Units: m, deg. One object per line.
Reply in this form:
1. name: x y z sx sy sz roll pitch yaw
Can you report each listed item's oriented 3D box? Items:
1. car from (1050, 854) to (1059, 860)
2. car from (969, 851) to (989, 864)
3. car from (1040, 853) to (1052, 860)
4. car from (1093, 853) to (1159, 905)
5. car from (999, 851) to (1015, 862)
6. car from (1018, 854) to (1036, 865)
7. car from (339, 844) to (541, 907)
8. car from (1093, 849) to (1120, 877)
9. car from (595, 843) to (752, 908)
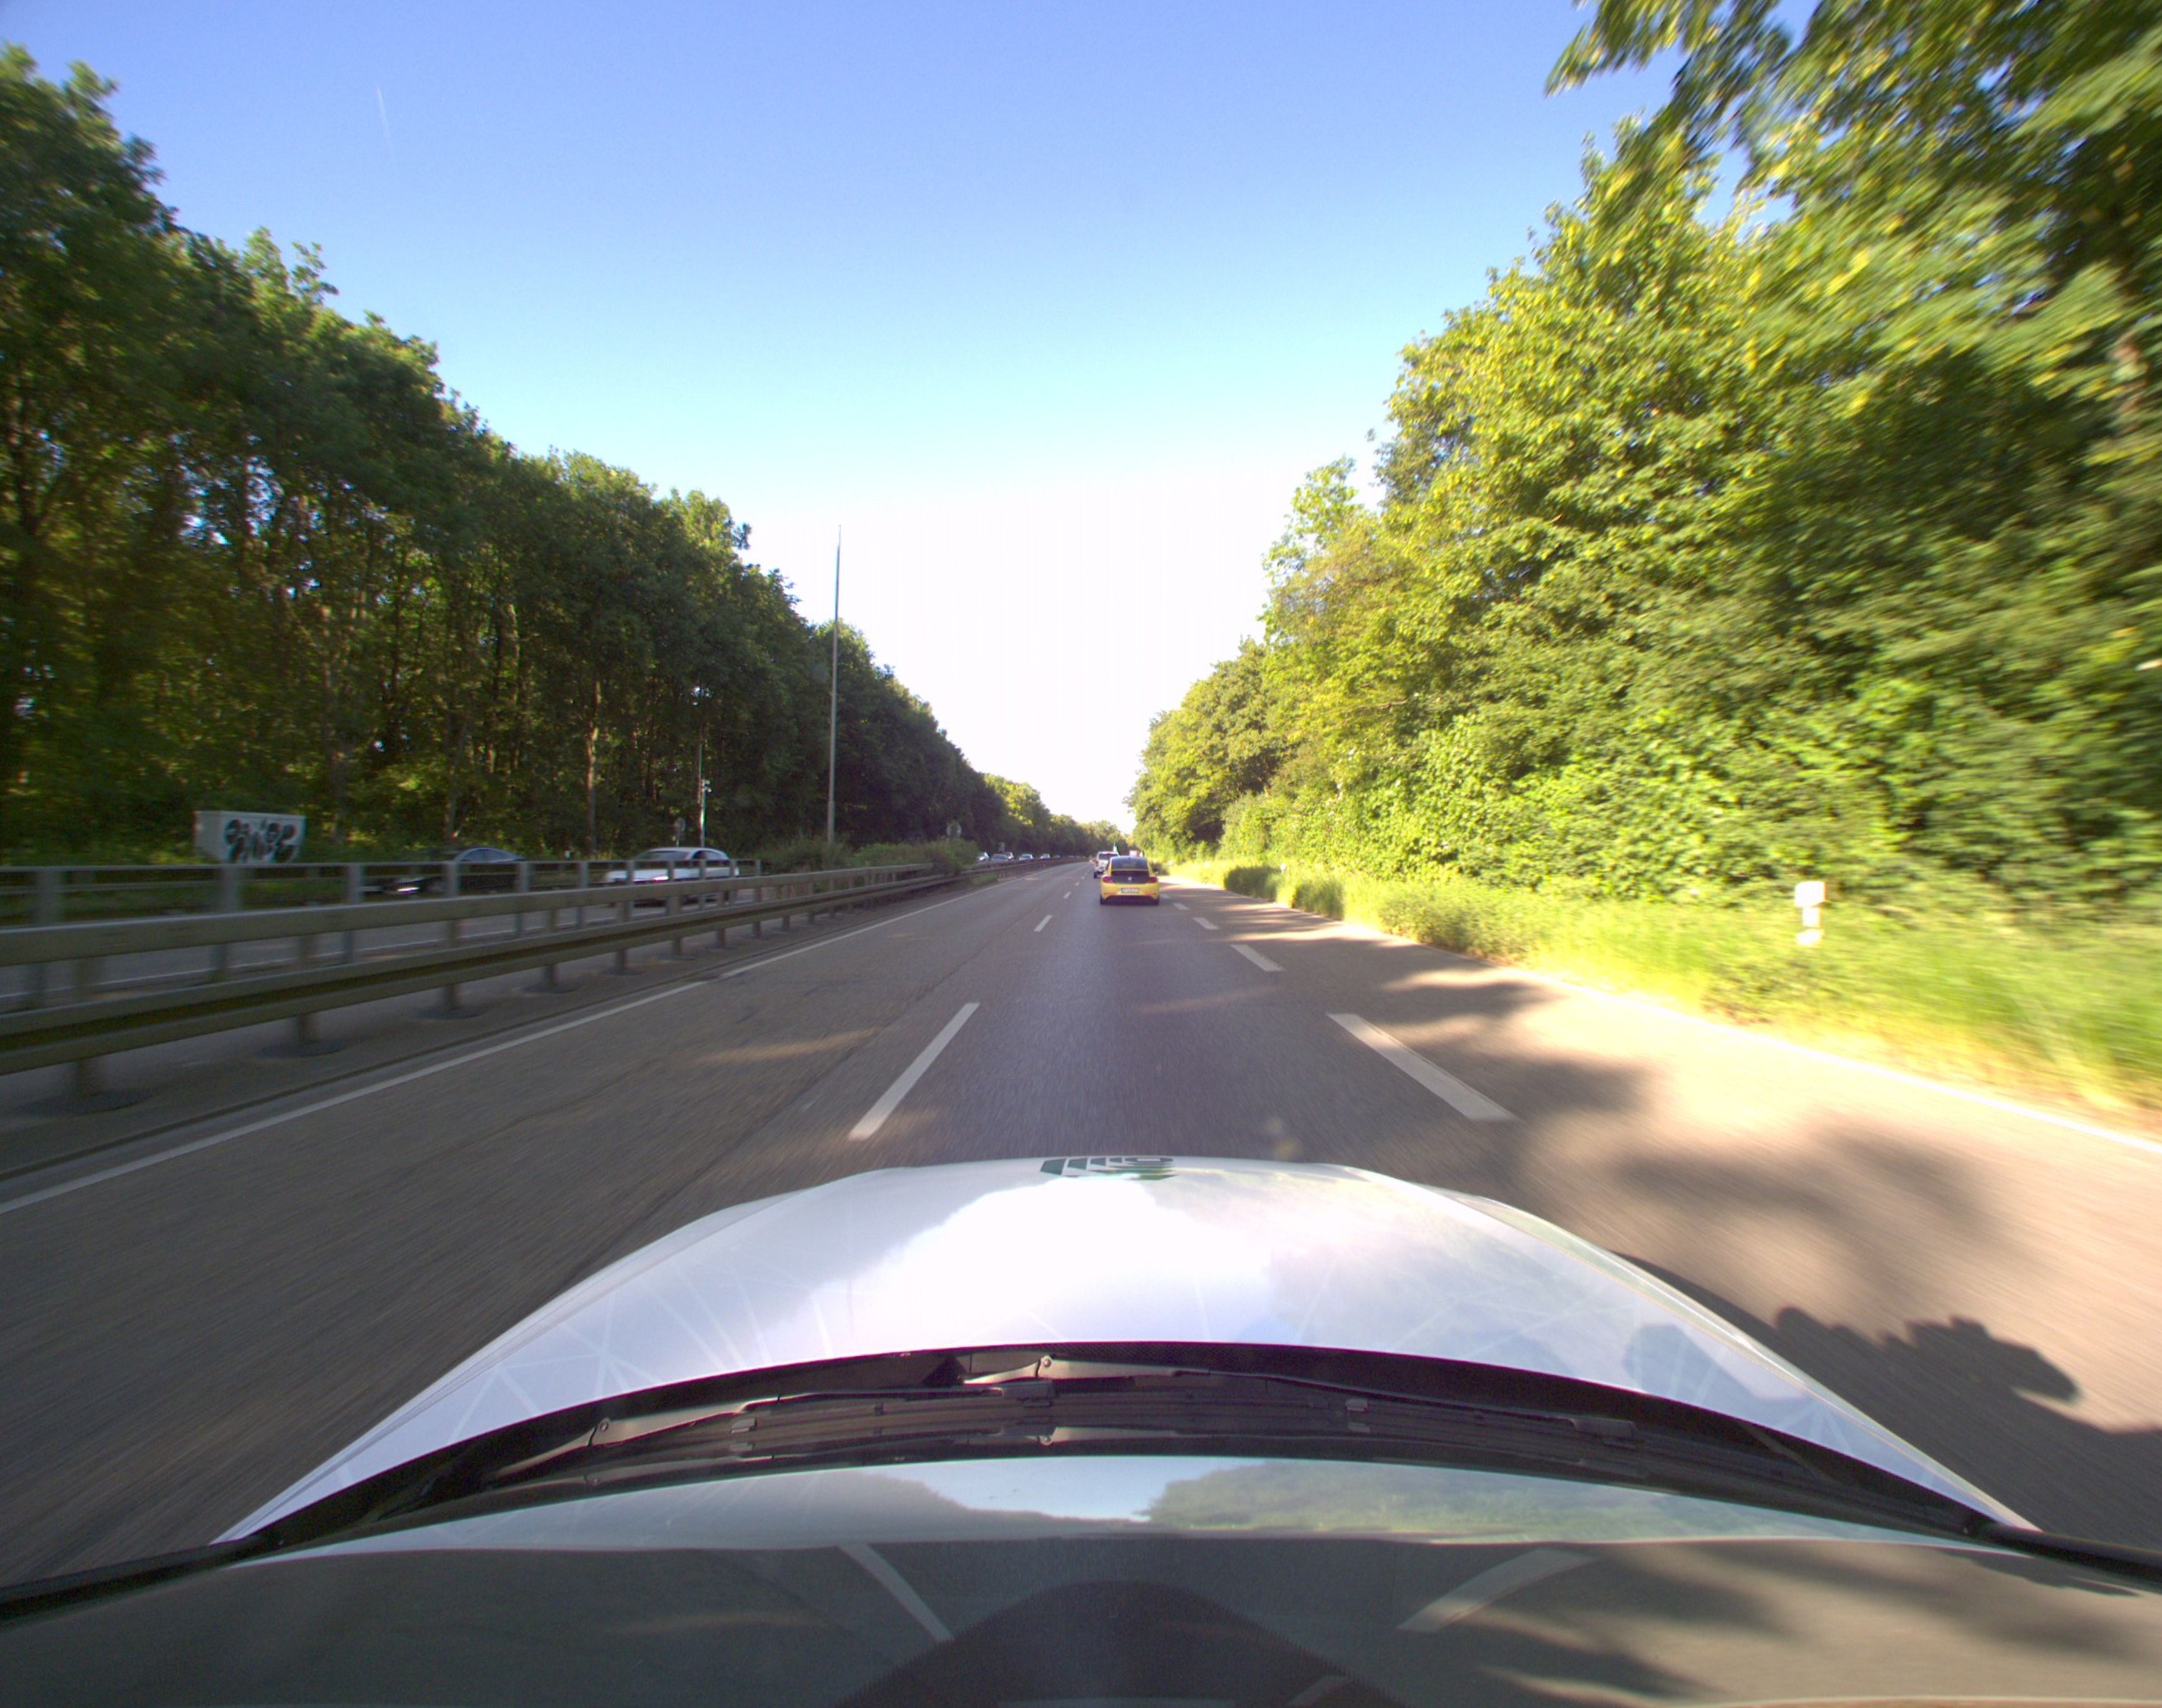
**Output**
1. car: -6.747 0.741 210.209 1.985 1.464 4.003 0 0 3
2. car: -13.639 0.476 109.370 1.986 1.600 4.709 0 0 2
3. car: -8.033 0.585 187.485 1.984 1.623 4.795 0 0 5
4. car: 1.467 0.729 25.343 1.930 1.508 3.427 0 0 5
5. car: -11.813 0.379 130.893 1.986 1.699 4.909 0 0 2
6. car: -7.460 0.787 112.412 1.986 1.560 4.709 0 0 2
7. car: -16.726 0.508 21.604 1.724 1.489 4.455 1 0 2
8. car: 1.732 0.598 54.491 1.734 1.830 3.425 0 0 3
9. car: -10.379 0.499 21.171 1.724 1.489 4.398 1 0 2
